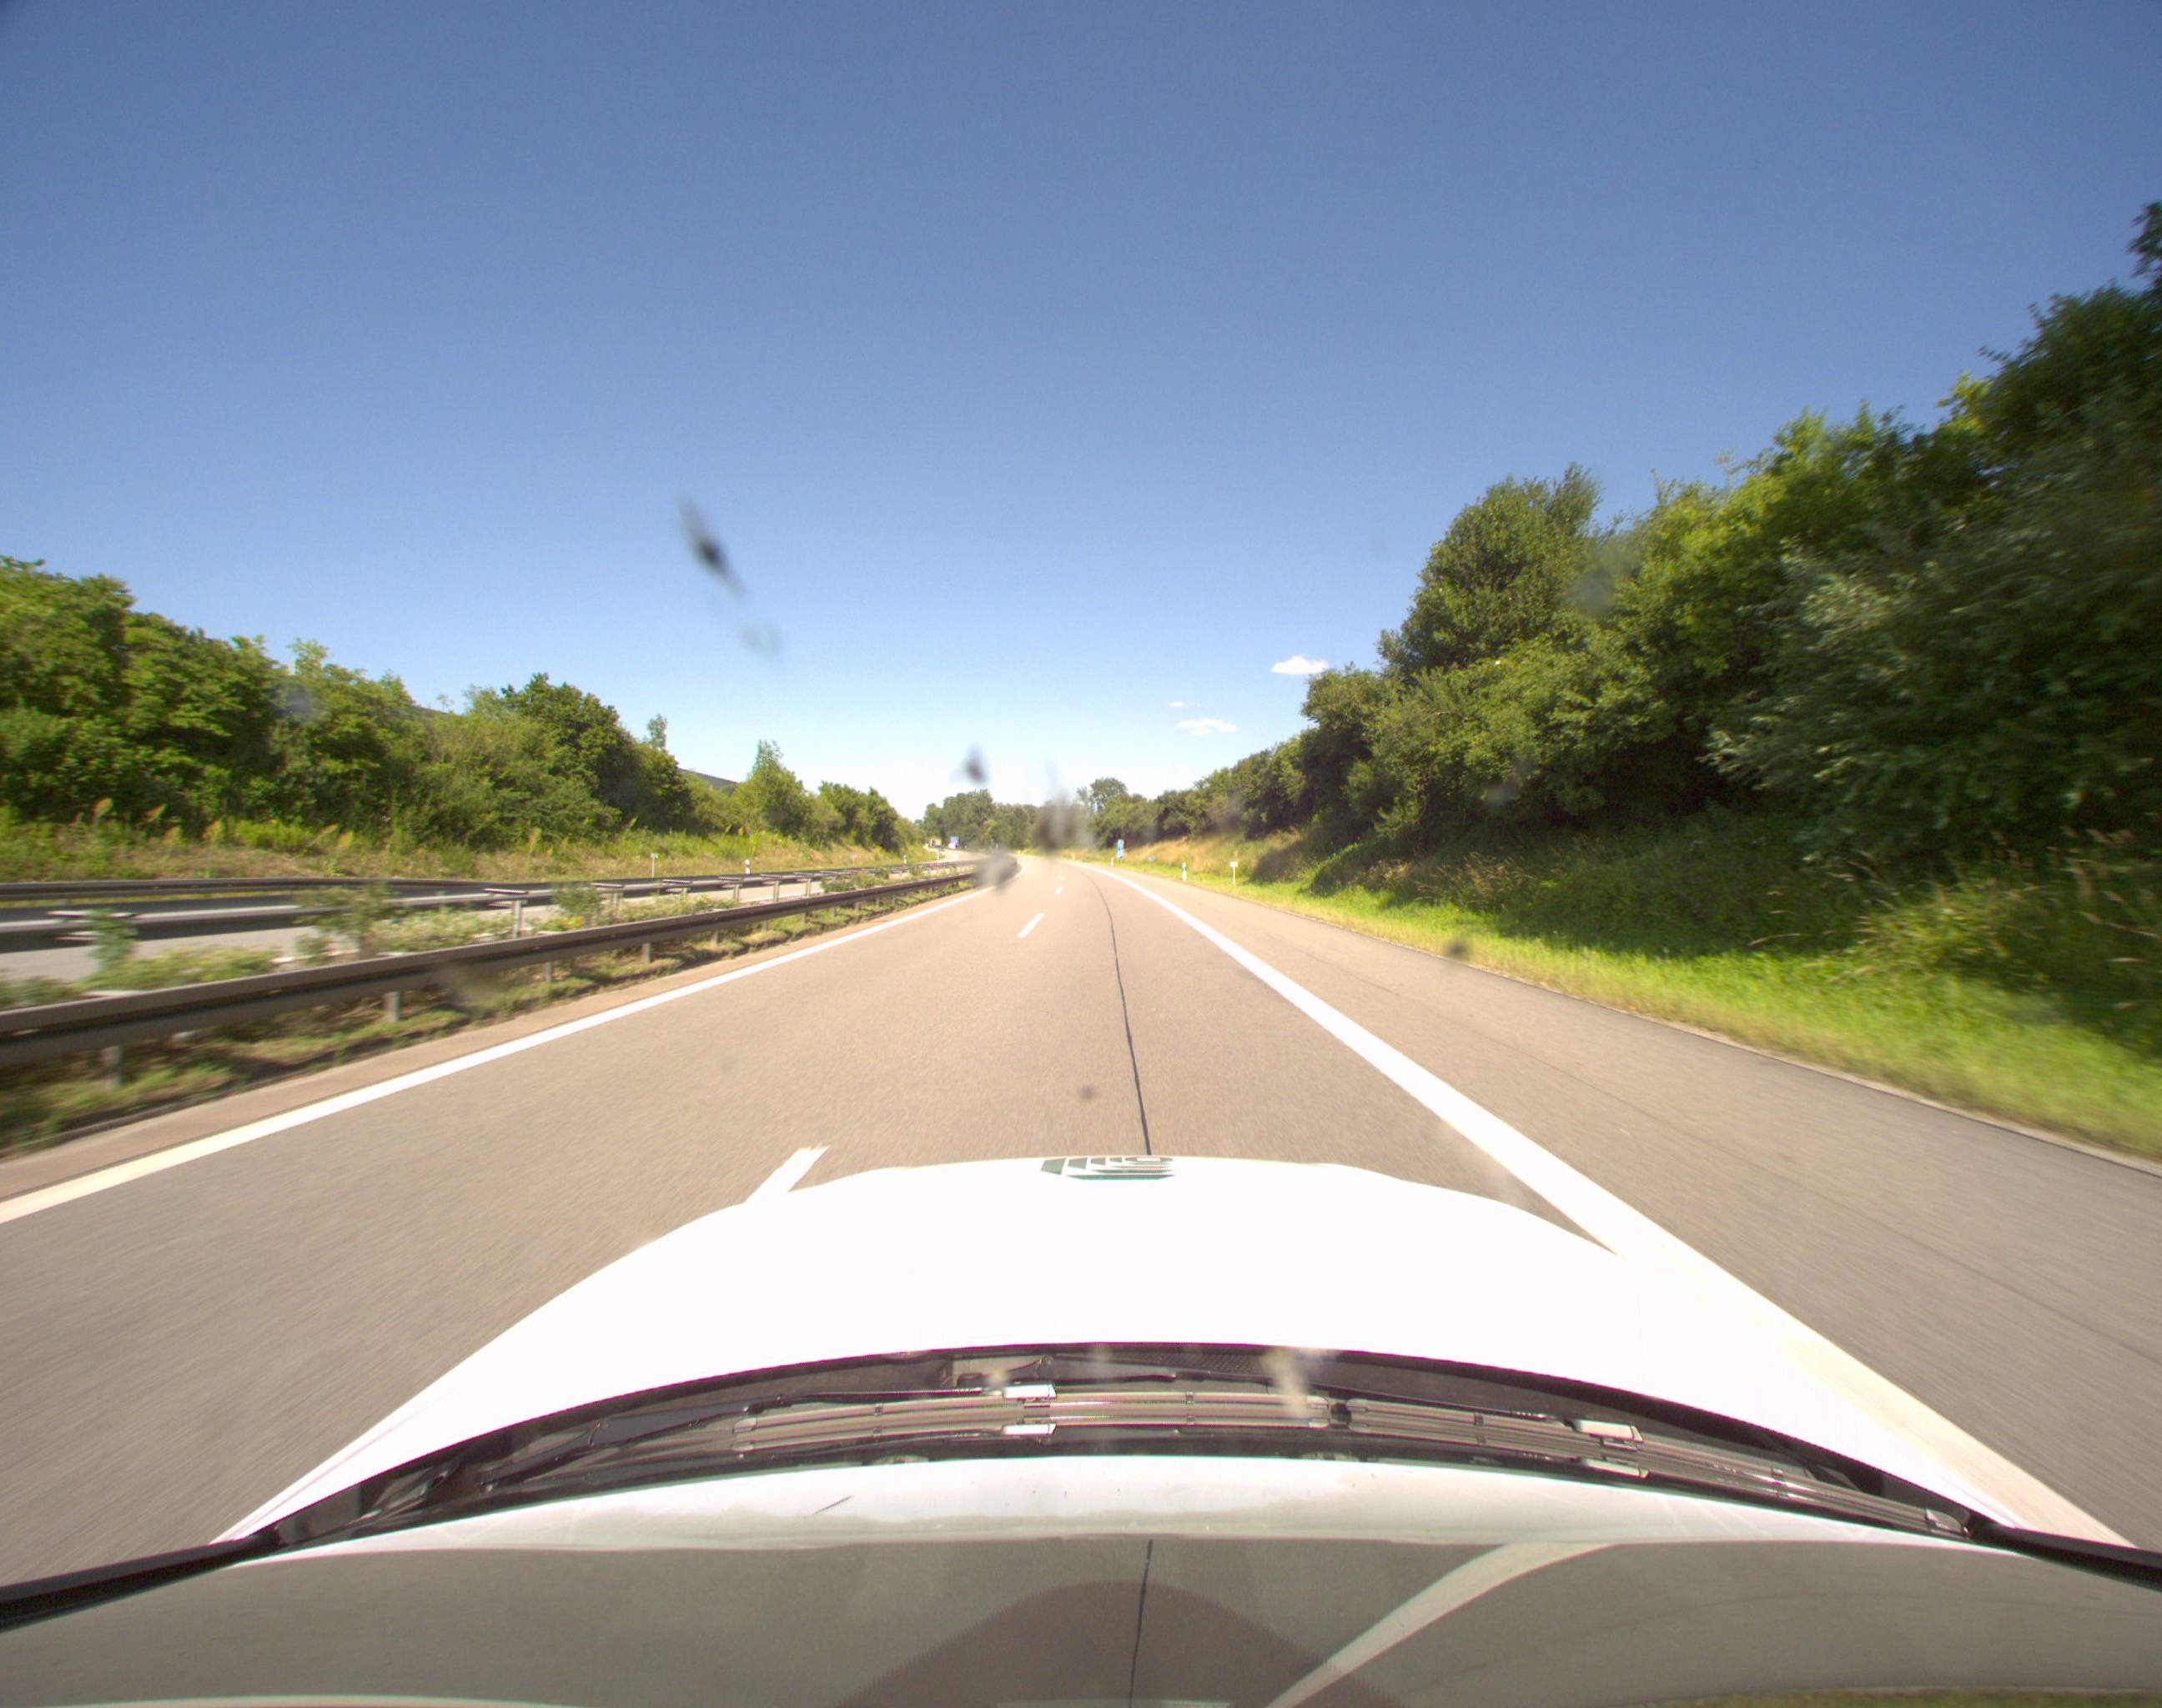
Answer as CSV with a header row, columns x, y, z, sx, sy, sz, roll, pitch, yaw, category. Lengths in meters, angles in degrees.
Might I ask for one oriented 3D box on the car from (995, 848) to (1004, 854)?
x,y,z,sx,sy,sz,roll,pitch,yaw,category
-21.916,-0.812,218.653,2.062,1.625,3.986,0,-1,-10,car
